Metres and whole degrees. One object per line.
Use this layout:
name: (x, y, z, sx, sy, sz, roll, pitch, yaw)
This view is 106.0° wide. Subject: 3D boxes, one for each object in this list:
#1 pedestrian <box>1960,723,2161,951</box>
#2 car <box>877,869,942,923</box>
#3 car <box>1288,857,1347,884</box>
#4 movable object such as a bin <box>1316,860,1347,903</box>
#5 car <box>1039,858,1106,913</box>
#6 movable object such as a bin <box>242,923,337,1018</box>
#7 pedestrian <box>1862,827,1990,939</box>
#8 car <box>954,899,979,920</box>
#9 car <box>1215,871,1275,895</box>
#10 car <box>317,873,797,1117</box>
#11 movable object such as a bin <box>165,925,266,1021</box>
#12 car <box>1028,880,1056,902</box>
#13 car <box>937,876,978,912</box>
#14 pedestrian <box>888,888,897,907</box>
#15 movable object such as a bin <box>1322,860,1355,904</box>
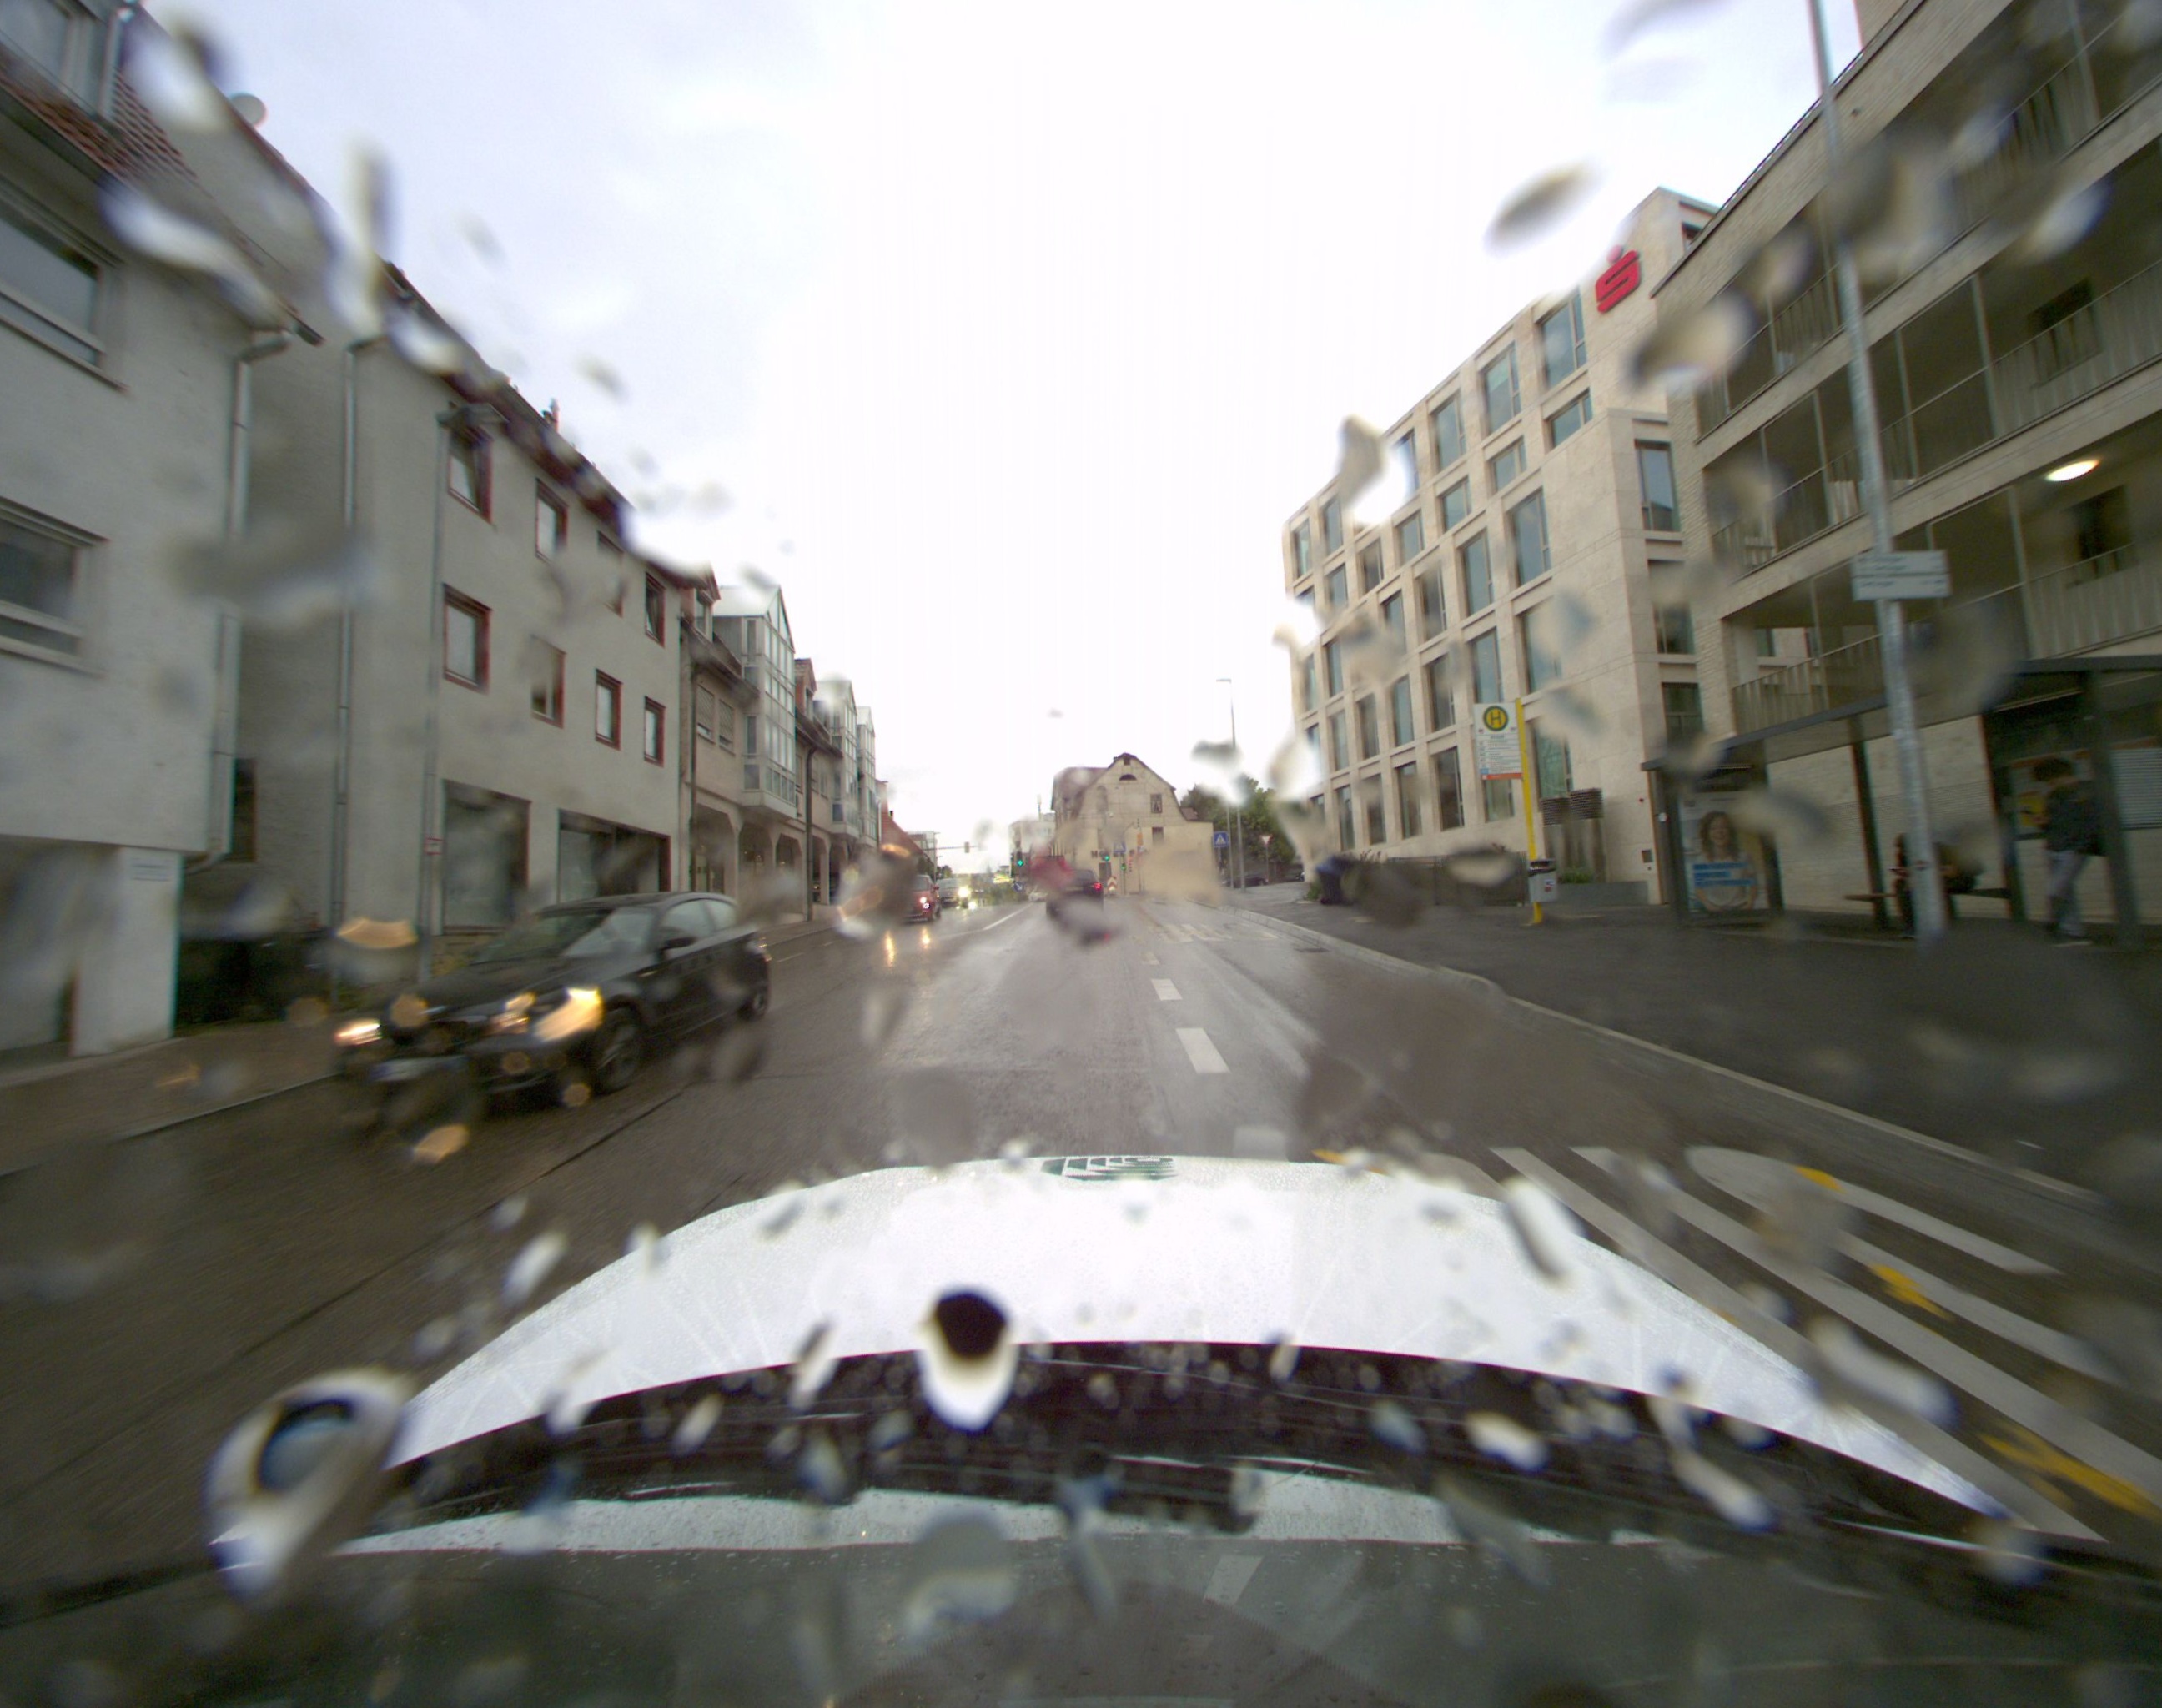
pedestrian: (9.230, -0.145, 7.609, 0.779, 1.940, 1.022, -4, -1, 2)
car: (-5.494, 1.295, 26.433, 1.557, 1.536, 3.442, -4, -1, -5)
car: (19.919, 1.396, 68.654, 4.306, 1.816, 1.770, -4, -6, -13)
movable object such as a bin: (6.454, 0.702, 20.981, 0.593, 1.062, 0.579, -3, -1, 1)
car: (-0.247, 0.963, 26.448, 1.938, 1.567, 4.416, -2, -1, 0)
movable object such as a bin: (-9.173, 1.335, 9.458, 0.507, 1.006, 0.584, -2, -1, -2)
pedestrian: (9.340, 0.314, 9.029, 0.669, 1.162, 0.635, -4, -1, 2)
car: (-9.942, 4.792, 70.720, 1.884, 1.467, 3.991, -4, -1, -6)
car: (13.336, 2.341, 66.374, 4.308, 1.505, 1.769, -4, -6, -14)
car: (-4.062, 0.952, 7.213, 1.682, 1.444, 3.909, -2, -1, 0)
movable object such as a bin: (-9.930, 1.348, 9.361, 0.507, 1.006, 0.584, -2, -1, -2)
car: (-2.958, 2.712, 60.900, 1.884, 1.467, 3.992, -4, -1, -6)
car: (-6.295, 2.005, 41.959, 1.779, 1.630, 4.207, -2, -1, -5)
pedestrian: (-15.720, 3.648, 68.003, 0.593, 1.559, 0.631, -3, -3, -15)
movable object such as a bin: (6.411, 0.690, 20.281, 0.593, 1.062, 0.579, -3, -1, 1)
